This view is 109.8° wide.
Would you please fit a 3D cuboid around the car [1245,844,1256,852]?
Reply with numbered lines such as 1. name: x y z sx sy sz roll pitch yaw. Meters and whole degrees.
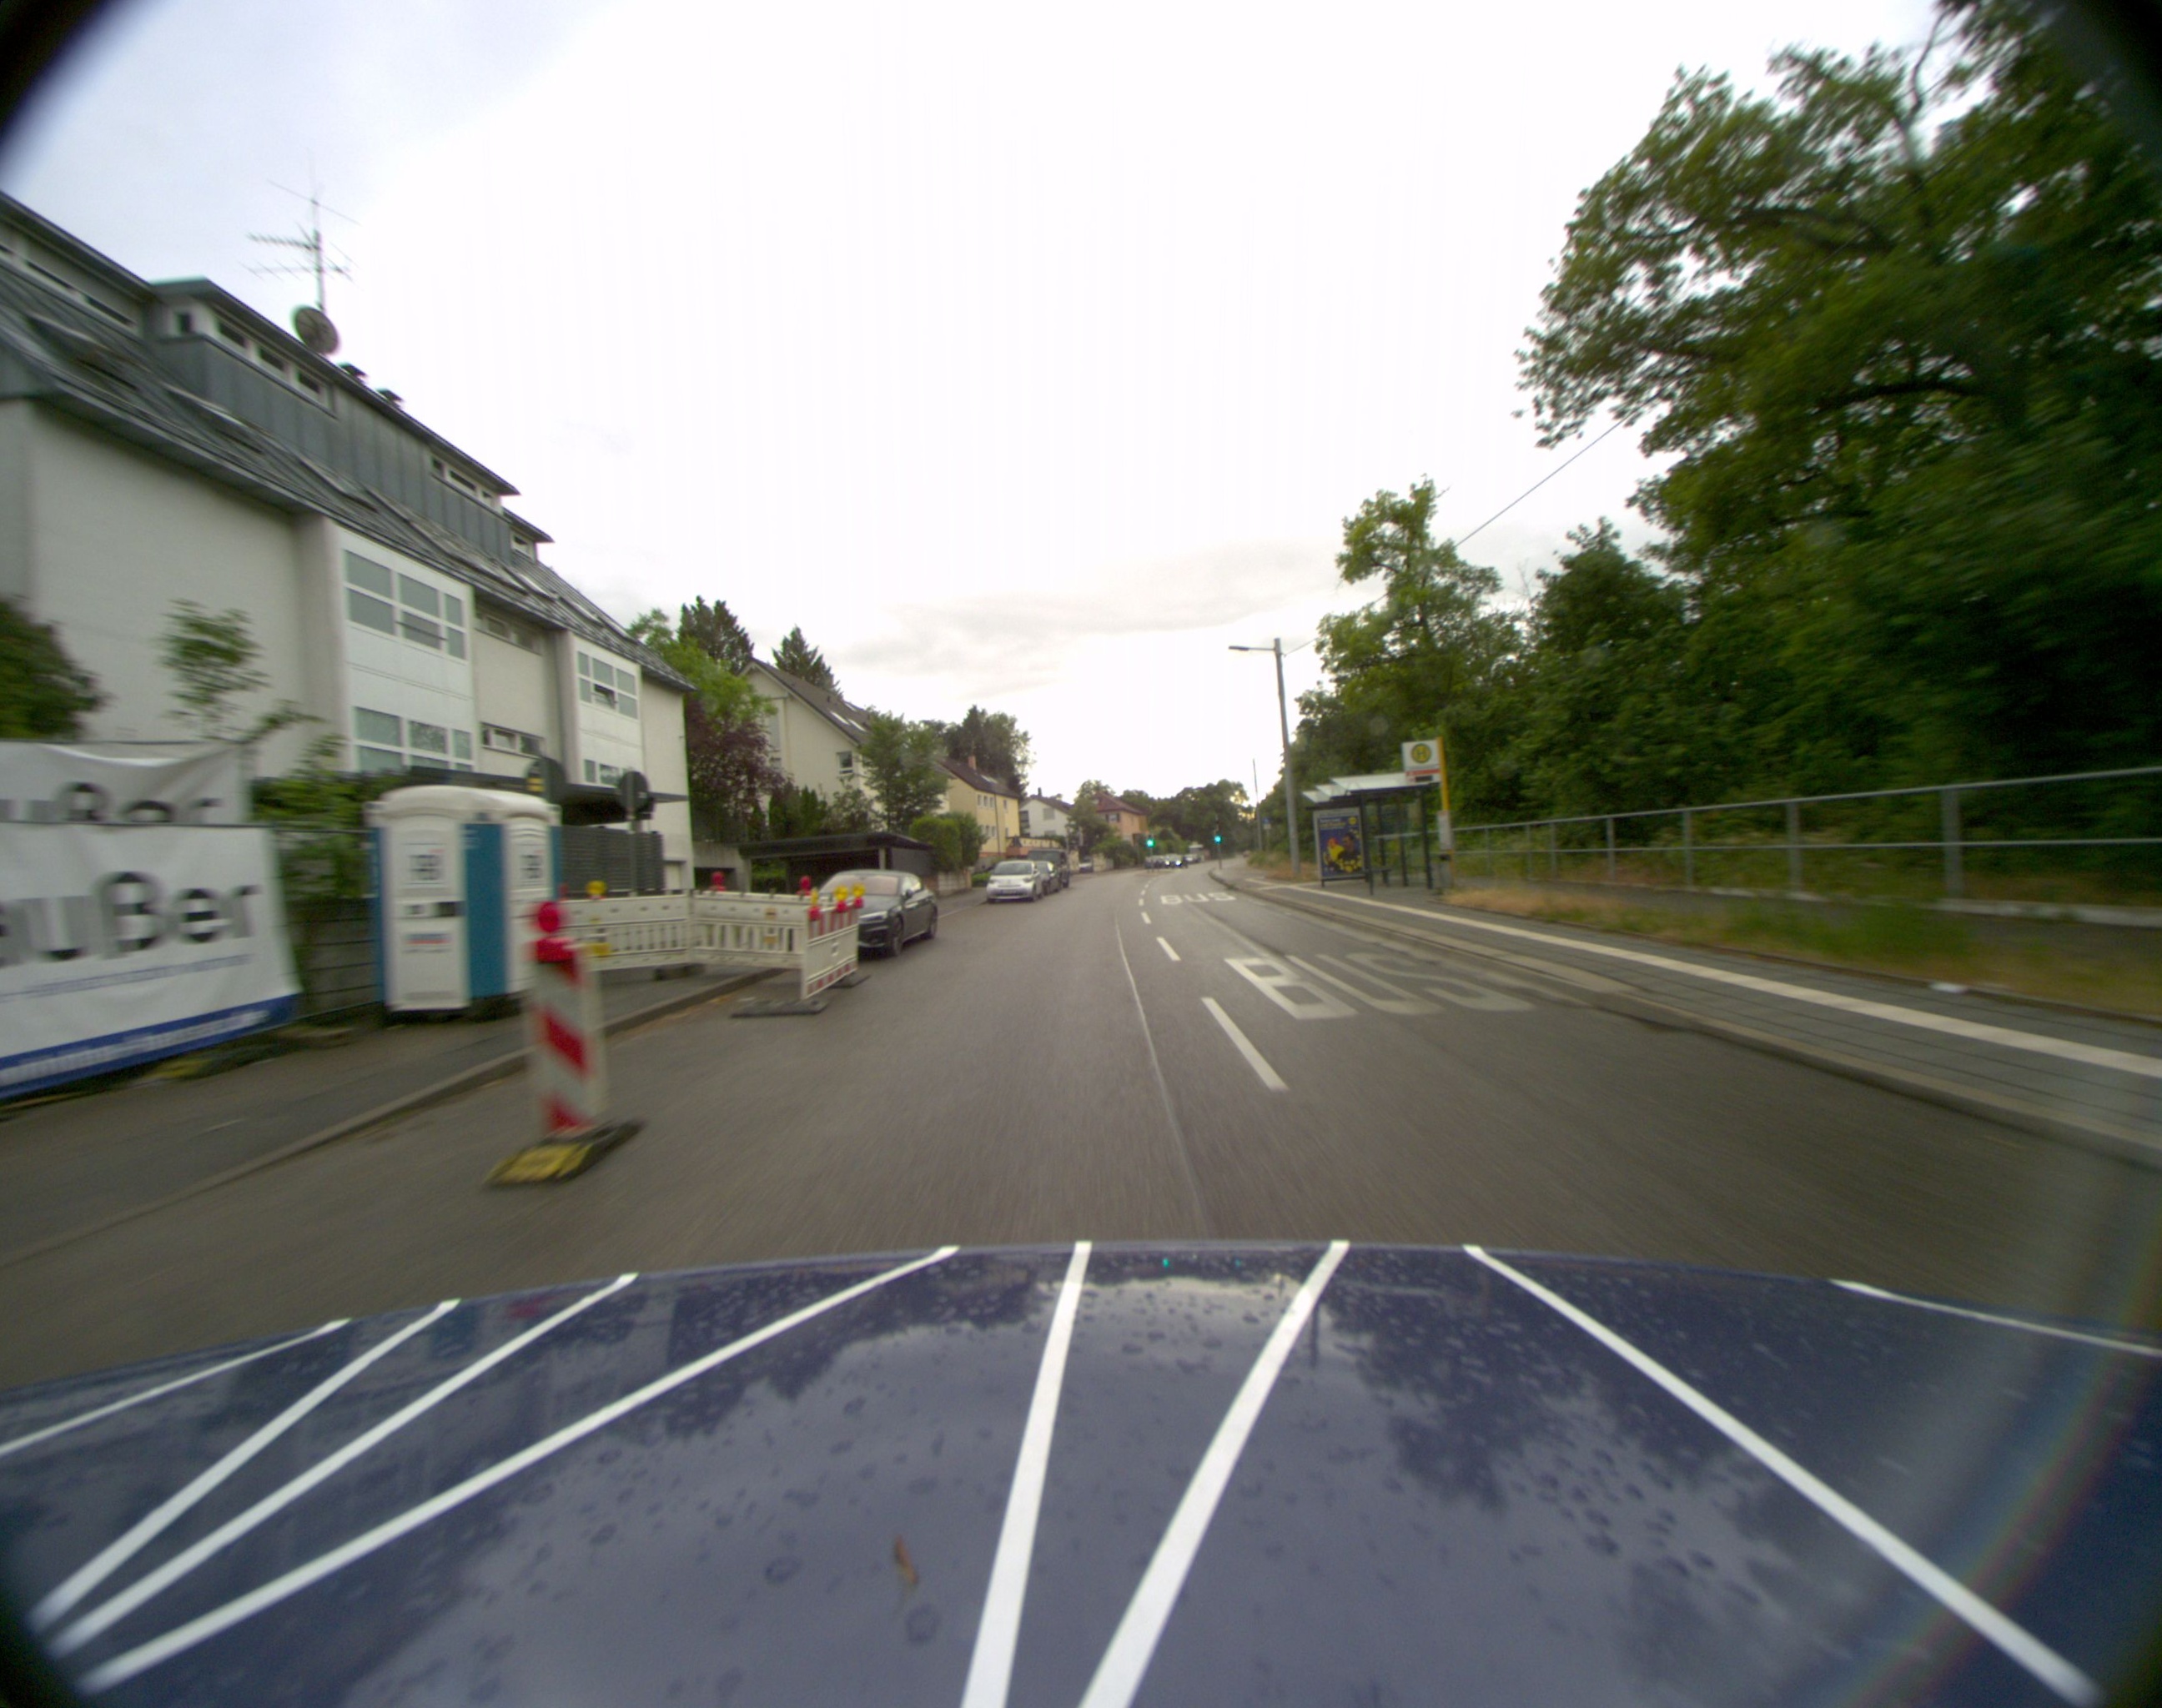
1. car: 32.938 -1.124 147.399 1.746 1.451 4.418 -3 0 17

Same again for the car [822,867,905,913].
1. car: -8.246 1.322 29.191 1.738 1.388 4.001 -5 0 3

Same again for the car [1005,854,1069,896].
1. car: -1.799 0.853 32.617 1.935 1.587 4.396 -1 1 8

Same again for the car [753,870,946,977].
1. car: -3.887 1.094 13.772 1.937 1.414 4.837 -2 0 0

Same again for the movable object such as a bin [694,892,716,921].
1. movable object such as a bin: -13.626 1.896 27.557 0.424 1.017 0.573 -3 1 3

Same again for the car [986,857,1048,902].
1. car: -2.317 0.897 28.221 1.676 1.449 3.387 -3 0 5

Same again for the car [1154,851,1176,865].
1. car: 10.135 0.447 91.682 1.795 1.478 4.499 -4 1 16

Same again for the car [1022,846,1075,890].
1. car: -1.533 0.647 37.687 1.998 2.002 4.958 -1 0 5

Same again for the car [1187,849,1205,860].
1. car: 17.823 0.091 117.553 1.832 1.538 4.634 -3 1 18

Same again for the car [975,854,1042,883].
1. car: -5.263 1.042 55.289 4.336 1.586 1.993 -6 0 8

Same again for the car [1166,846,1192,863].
1. car: 10.519 0.053 81.571 1.996 1.714 4.005 -3 0 18

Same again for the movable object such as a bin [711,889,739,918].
1. movable object such as a bin: -13.699 1.905 29.249 0.644 1.017 0.673 -3 1 3

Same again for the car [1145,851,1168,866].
1. car: 8.633 0.468 86.533 1.754 1.435 4.605 -4 1 16

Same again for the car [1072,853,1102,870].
1. car: 0.702 0.793 82.252 1.935 1.587 4.346 -5 0 16
